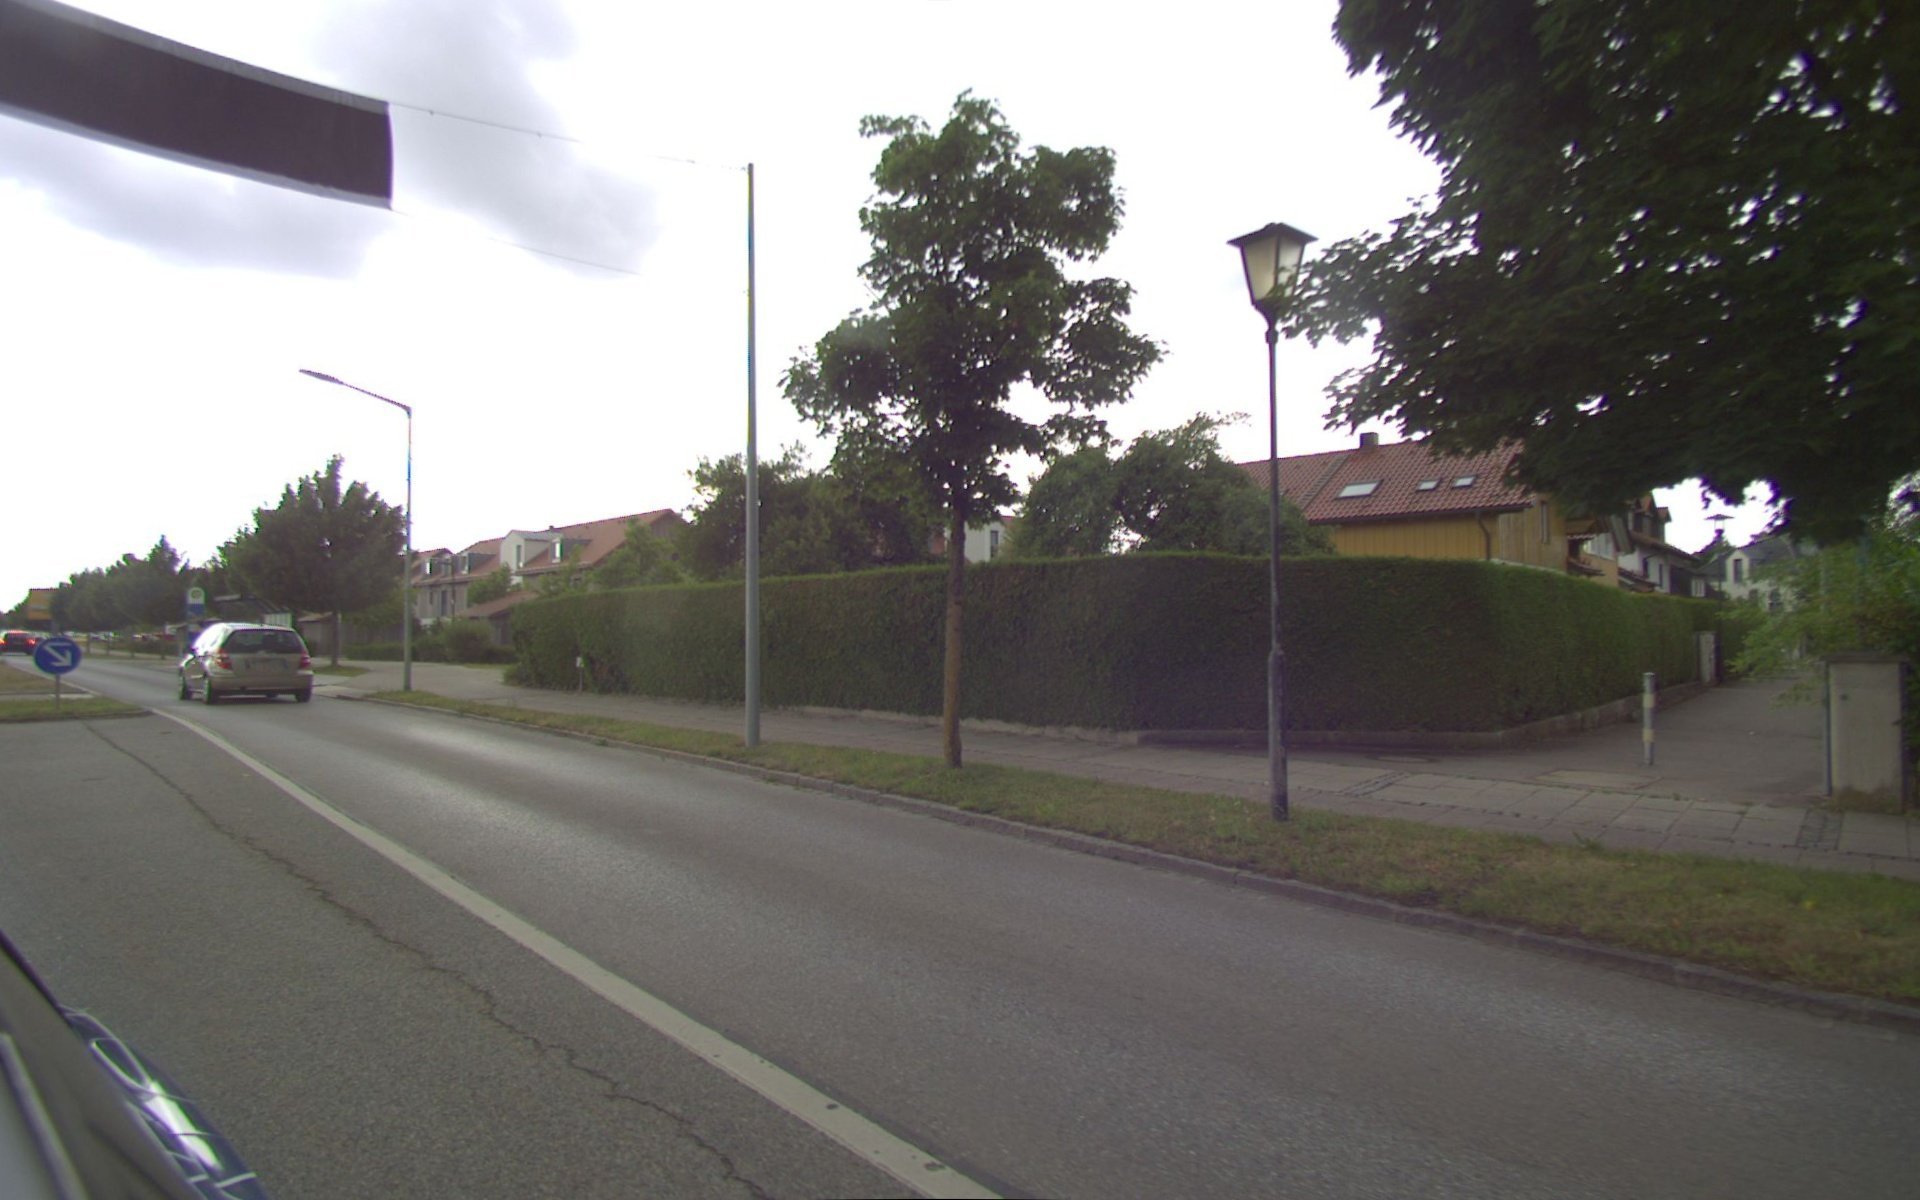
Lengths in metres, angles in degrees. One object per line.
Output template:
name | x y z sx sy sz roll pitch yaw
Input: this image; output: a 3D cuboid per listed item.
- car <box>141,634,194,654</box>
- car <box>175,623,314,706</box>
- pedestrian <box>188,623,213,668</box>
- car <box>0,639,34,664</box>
car | -89.096 4.949 113.802 4.504 2.029 2.002 -1 0 -43
car | -14.714 1.288 20.743 3.509 1.544 1.687 -2 -4 45
pedestrian | -28.407 1.695 37.827 0.812 1.649 0.582 -2 -3 42
car | -58.157 3.118 61.905 4.496 1.465 1.899 -2 -3 43
